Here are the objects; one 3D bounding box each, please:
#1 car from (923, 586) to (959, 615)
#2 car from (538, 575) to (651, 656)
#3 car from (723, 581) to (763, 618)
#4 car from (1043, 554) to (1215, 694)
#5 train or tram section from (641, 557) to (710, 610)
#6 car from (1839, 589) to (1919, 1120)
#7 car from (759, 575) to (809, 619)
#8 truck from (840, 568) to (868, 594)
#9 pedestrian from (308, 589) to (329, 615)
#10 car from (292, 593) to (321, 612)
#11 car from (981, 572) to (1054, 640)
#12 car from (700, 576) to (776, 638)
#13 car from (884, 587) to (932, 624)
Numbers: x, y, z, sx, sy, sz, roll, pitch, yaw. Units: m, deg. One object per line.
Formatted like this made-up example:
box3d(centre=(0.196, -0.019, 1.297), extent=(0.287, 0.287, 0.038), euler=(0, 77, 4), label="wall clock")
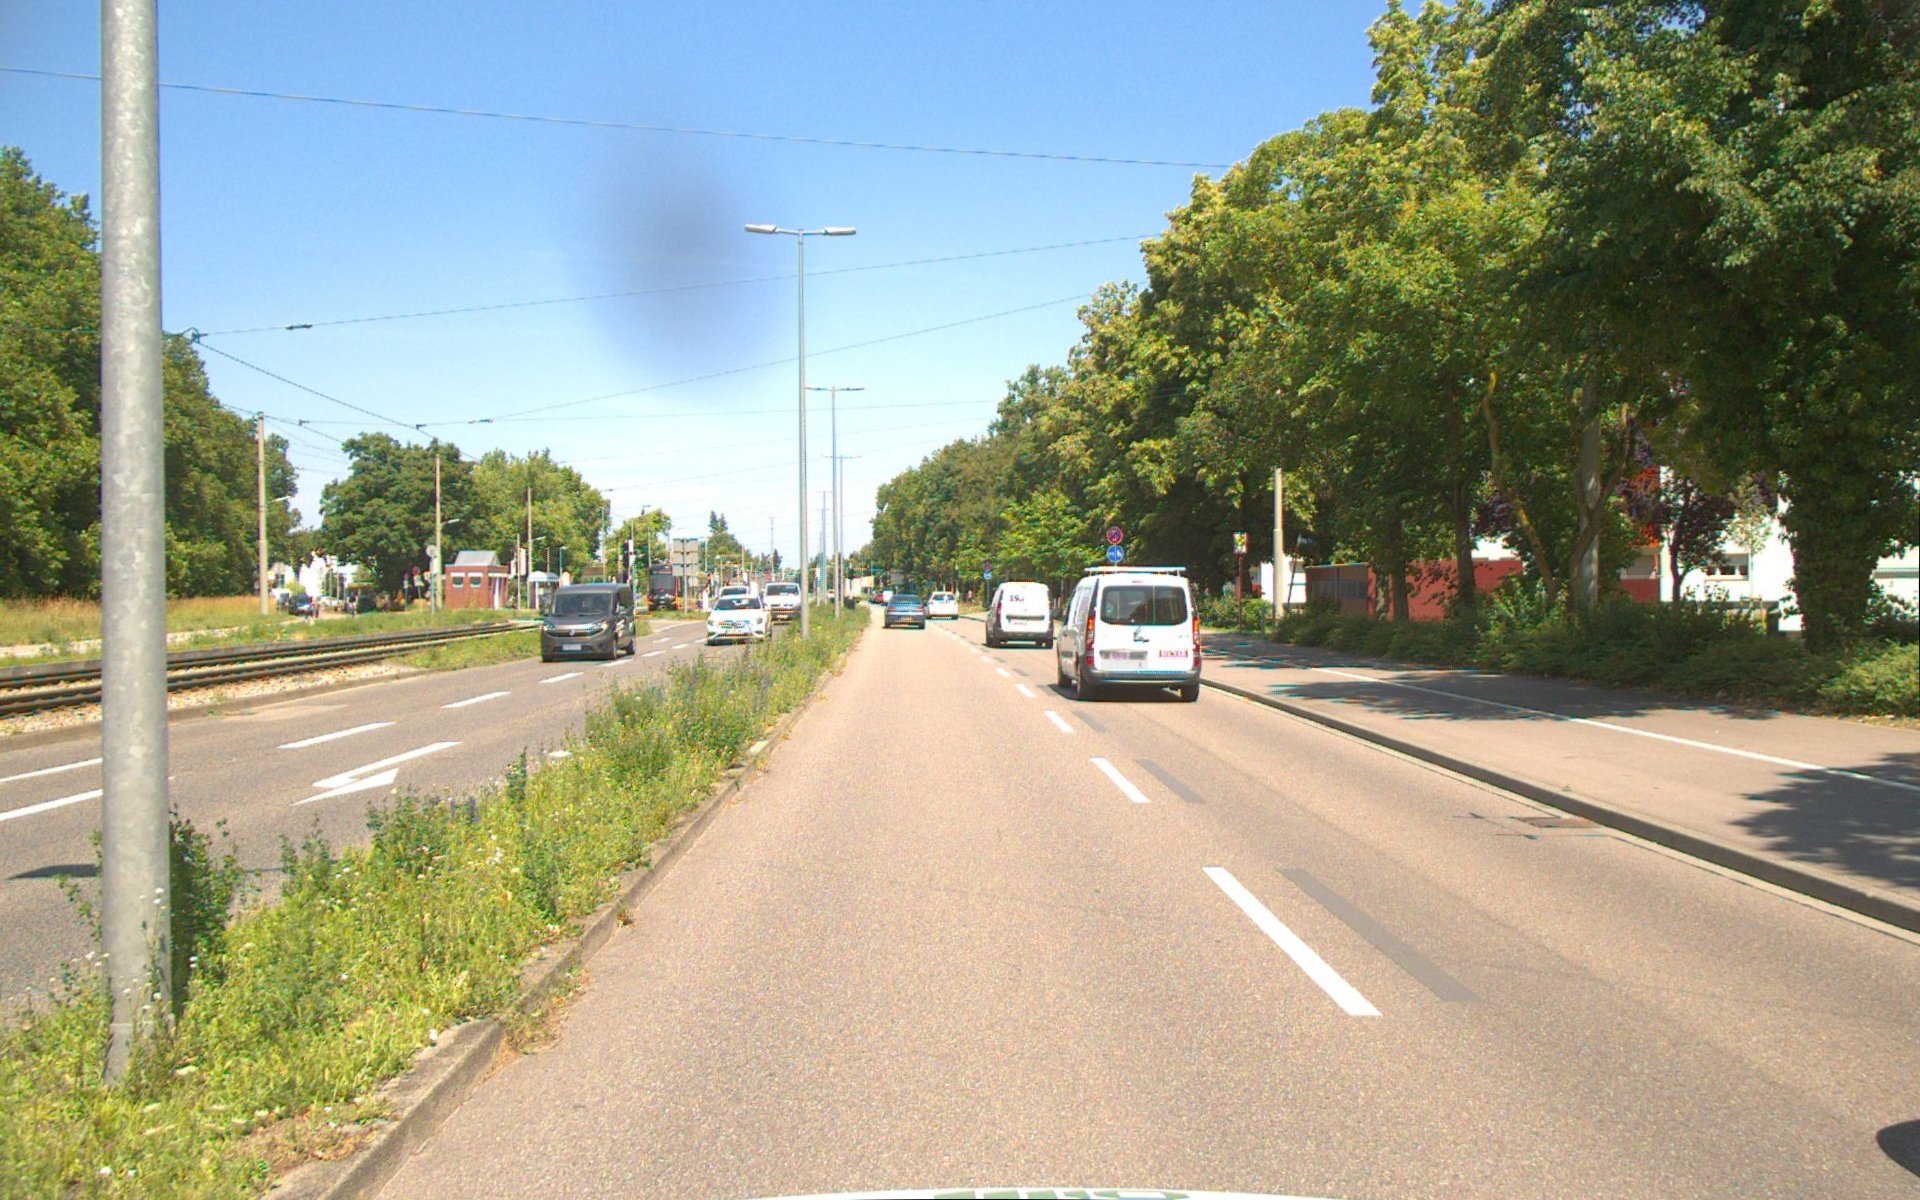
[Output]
box3d(centre=(-1.083, 0.023, 92.647), extent=(1.768, 1.567, 3.997), euler=(0, 0, -4), label="car")
box3d(centre=(-8.926, 0.333, 40.759), extent=(1.793, 1.833, 4.613), euler=(-2, 1, -1), label="car")
box3d(centre=(-12.665, -0.058, 96.747), extent=(1.851, 2.052, 5.079), euler=(-2, 1, -3), label="car")
box3d(centre=(2.436, 0.317, 24.966), extent=(1.788, 1.914, 4.451), euler=(1, 0, -5), label="car")
box3d(centre=(-23.026, -1.288, 136.034), extent=(2.734, 3.732, 37.475), euler=(0, 0, -5), label="train or tram section")
box3d(centre=(3.519, 0.729, 3.108), extent=(1.625, 1.474, 3.854), euler=(1, 0, -1), label="car")
box3d(centre=(-8.219, -0.158, 77.570), extent=(1.793, 1.939, 5.565), euler=(-2, 1, -1), label="car")
box3d(centre=(-16.338, -2.894, 253.653), extent=(3.824, 3.879, 10.780), euler=(-1, 0, -6), label="truck")
box3d(centre=(-43.828, 0.118, 113.020), extent=(0.507, 1.731, 1.264), euler=(0, 0, 39), label="pedestrian")
box3d(centre=(-53.202, 0.214, 134.671), extent=(1.969, 1.493, 3.968), euler=(0, 0, -25), label="car")
box3d(centre=(1.599, 0.140, 47.140), extent=(1.693, 1.845, 3.998), euler=(1, 1, -3), label="car")
box3d(centre=(-6.676, 0.181, 50.146), extent=(1.793, 1.769, 4.037), euler=(-2, 1, -1), label="car")
box3d(centre=(-2.192, 0.215, 69.252), extent=(1.767, 1.512, 3.995), euler=(0, 0, -5), label="car")
